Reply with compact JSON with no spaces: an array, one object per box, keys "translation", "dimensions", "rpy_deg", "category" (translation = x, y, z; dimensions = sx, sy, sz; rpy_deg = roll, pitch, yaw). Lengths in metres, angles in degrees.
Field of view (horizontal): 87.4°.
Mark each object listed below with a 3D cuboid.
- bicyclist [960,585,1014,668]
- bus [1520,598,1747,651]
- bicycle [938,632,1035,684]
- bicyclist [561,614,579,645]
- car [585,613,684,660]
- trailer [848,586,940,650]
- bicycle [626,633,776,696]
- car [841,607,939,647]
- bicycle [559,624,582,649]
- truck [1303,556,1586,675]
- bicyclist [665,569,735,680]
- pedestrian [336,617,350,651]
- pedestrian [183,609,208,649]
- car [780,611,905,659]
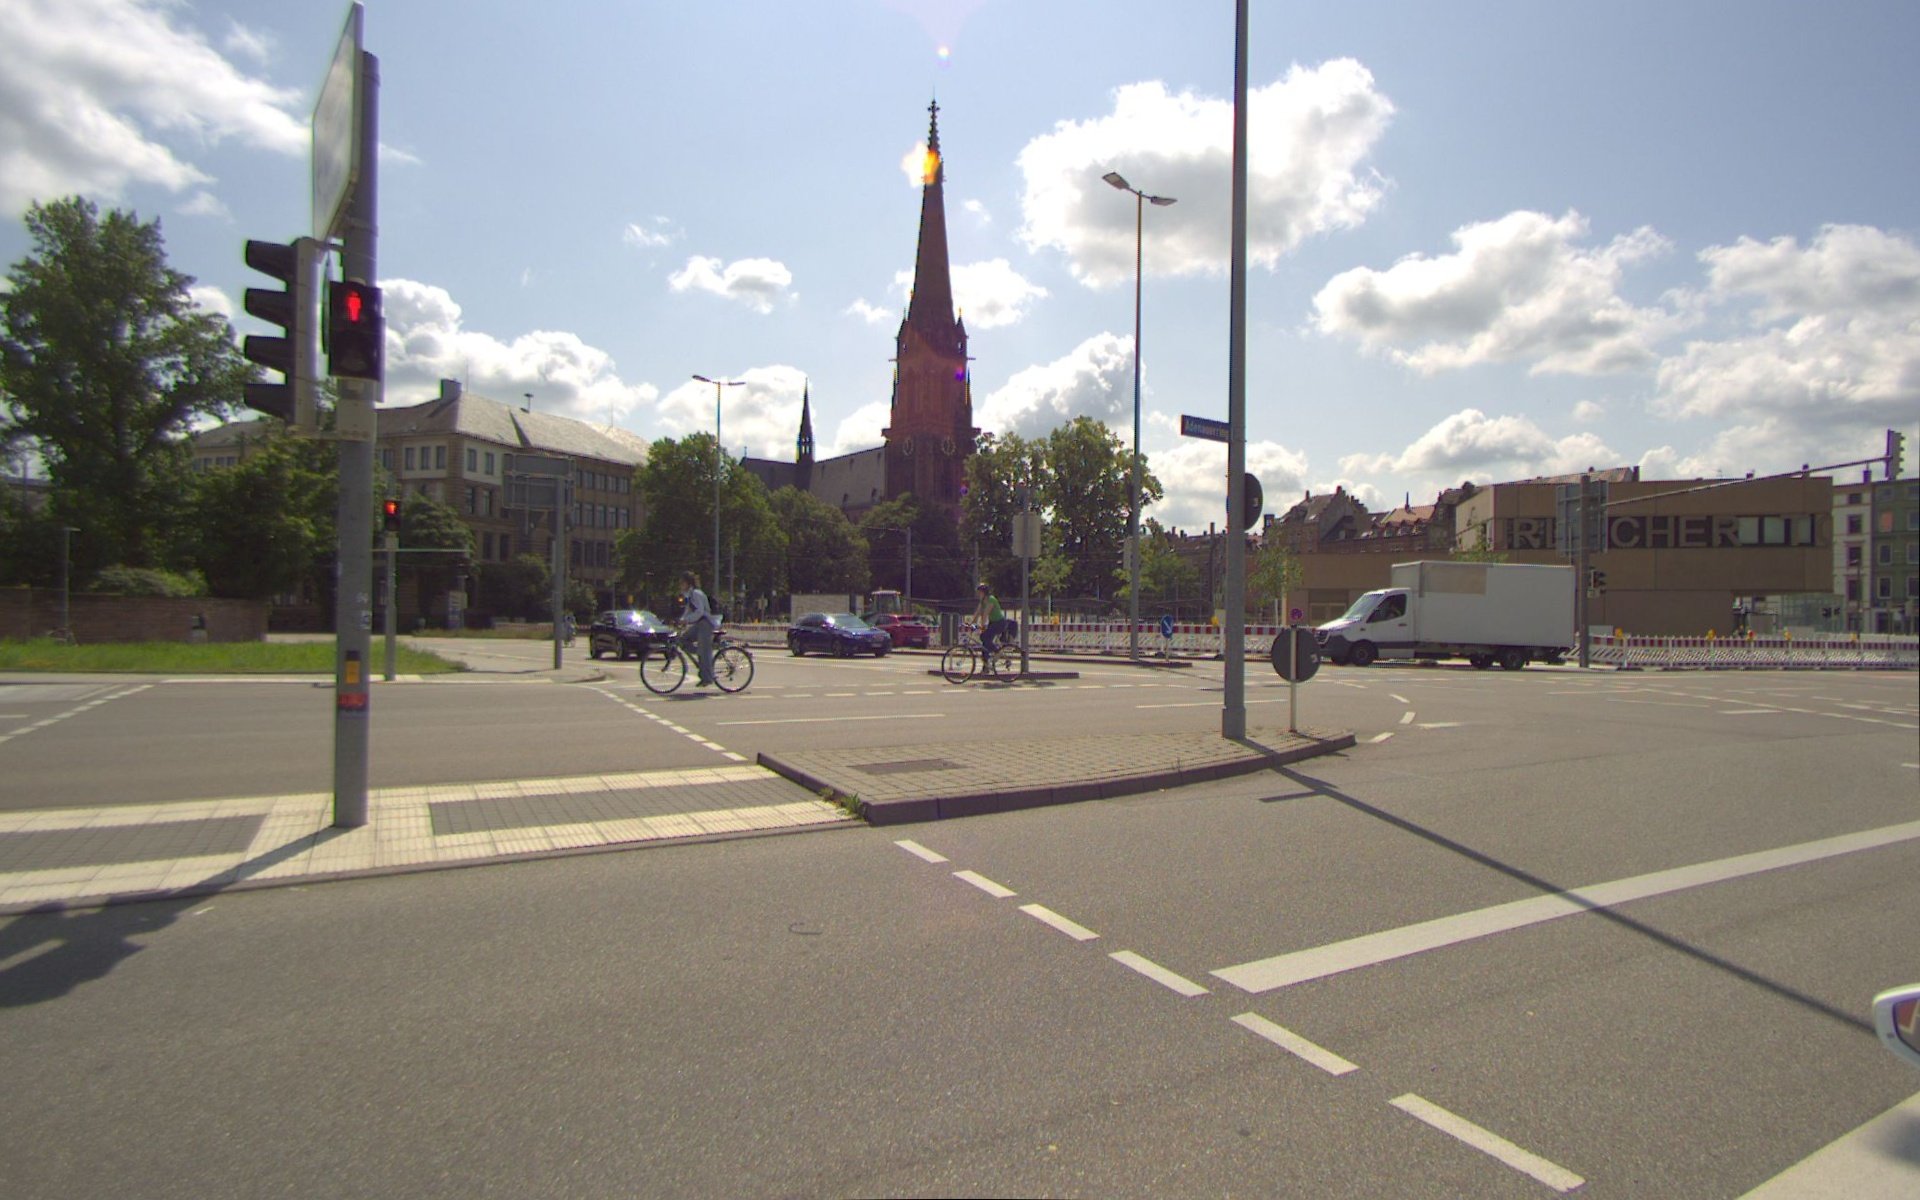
[{"translation":[0.493,0.475,18.342],"dimensions":[0.826,1.481,0.563],"rpy_deg":[1,-1,-26],"category":"bicyclist"},{"translation":[43.809,1.548,65.852],"dimensions":[12.021,2.897,2.596],"rpy_deg":[2,0,17],"category":"bus"},{"translation":[0.488,1.049,18.335],"dimensions":[1.720,0.901,0.565],"rpy_deg":[1,-1,-26],"category":"bicycle"},{"translation":[-19.527,1.475,50.318],"dimensions":[0.660,1.553,0.641],"rpy_deg":[2,0,-33],"category":"bicyclist"},{"translation":[-11.309,1.231,34.695],"dimensions":[1.981,1.506,4.465],"rpy_deg":[1,-1,-36],"category":"car"},{"translation":[-3.238,0.898,49.888],"dimensions":[4.279,2.952,2.000],"rpy_deg":[2,0,1],"category":"trailer"},{"translation":[-3.949,0.955,15.367],"dimensions":[2.086,0.901,0.771],"rpy_deg":[1,-1,-33],"category":"bicycle"},{"translation":[-2.833,1.058,39.932],"dimensions":[1.985,1.506,3.858],"rpy_deg":[1,-1,-41],"category":"car"},{"translation":[-19.534,1.822,50.300],"dimensions":[0.660,1.161,2.050],"rpy_deg":[2,0,-33],"category":"bicycle"},{"translation":[14.019,0.440,29.373],"dimensions":[7.184,3.108,2.000],"rpy_deg":[2,0,2],"category":"truck"},{"translation":[-3.973,0.370,15.356],"dimensions":[0.834,1.640,0.772],"rpy_deg":[1,-1,-33],"category":"bicyclist"},{"translation":[-33.660,1.855,54.768],"dimensions":[0.560,1.844,0.437],"rpy_deg":[2,0,37],"category":"pedestrian"},{"translation":[-33.265,1.260,43.711],"dimensions":[0.478,1.718,0.680],"rpy_deg":[2,0,16],"category":"pedestrian"},{"translation":[-4.017,1.133,33.615],"dimensions":[1.984,1.506,4.615],"rpy_deg":[1,-1,-40],"category":"car"}]
